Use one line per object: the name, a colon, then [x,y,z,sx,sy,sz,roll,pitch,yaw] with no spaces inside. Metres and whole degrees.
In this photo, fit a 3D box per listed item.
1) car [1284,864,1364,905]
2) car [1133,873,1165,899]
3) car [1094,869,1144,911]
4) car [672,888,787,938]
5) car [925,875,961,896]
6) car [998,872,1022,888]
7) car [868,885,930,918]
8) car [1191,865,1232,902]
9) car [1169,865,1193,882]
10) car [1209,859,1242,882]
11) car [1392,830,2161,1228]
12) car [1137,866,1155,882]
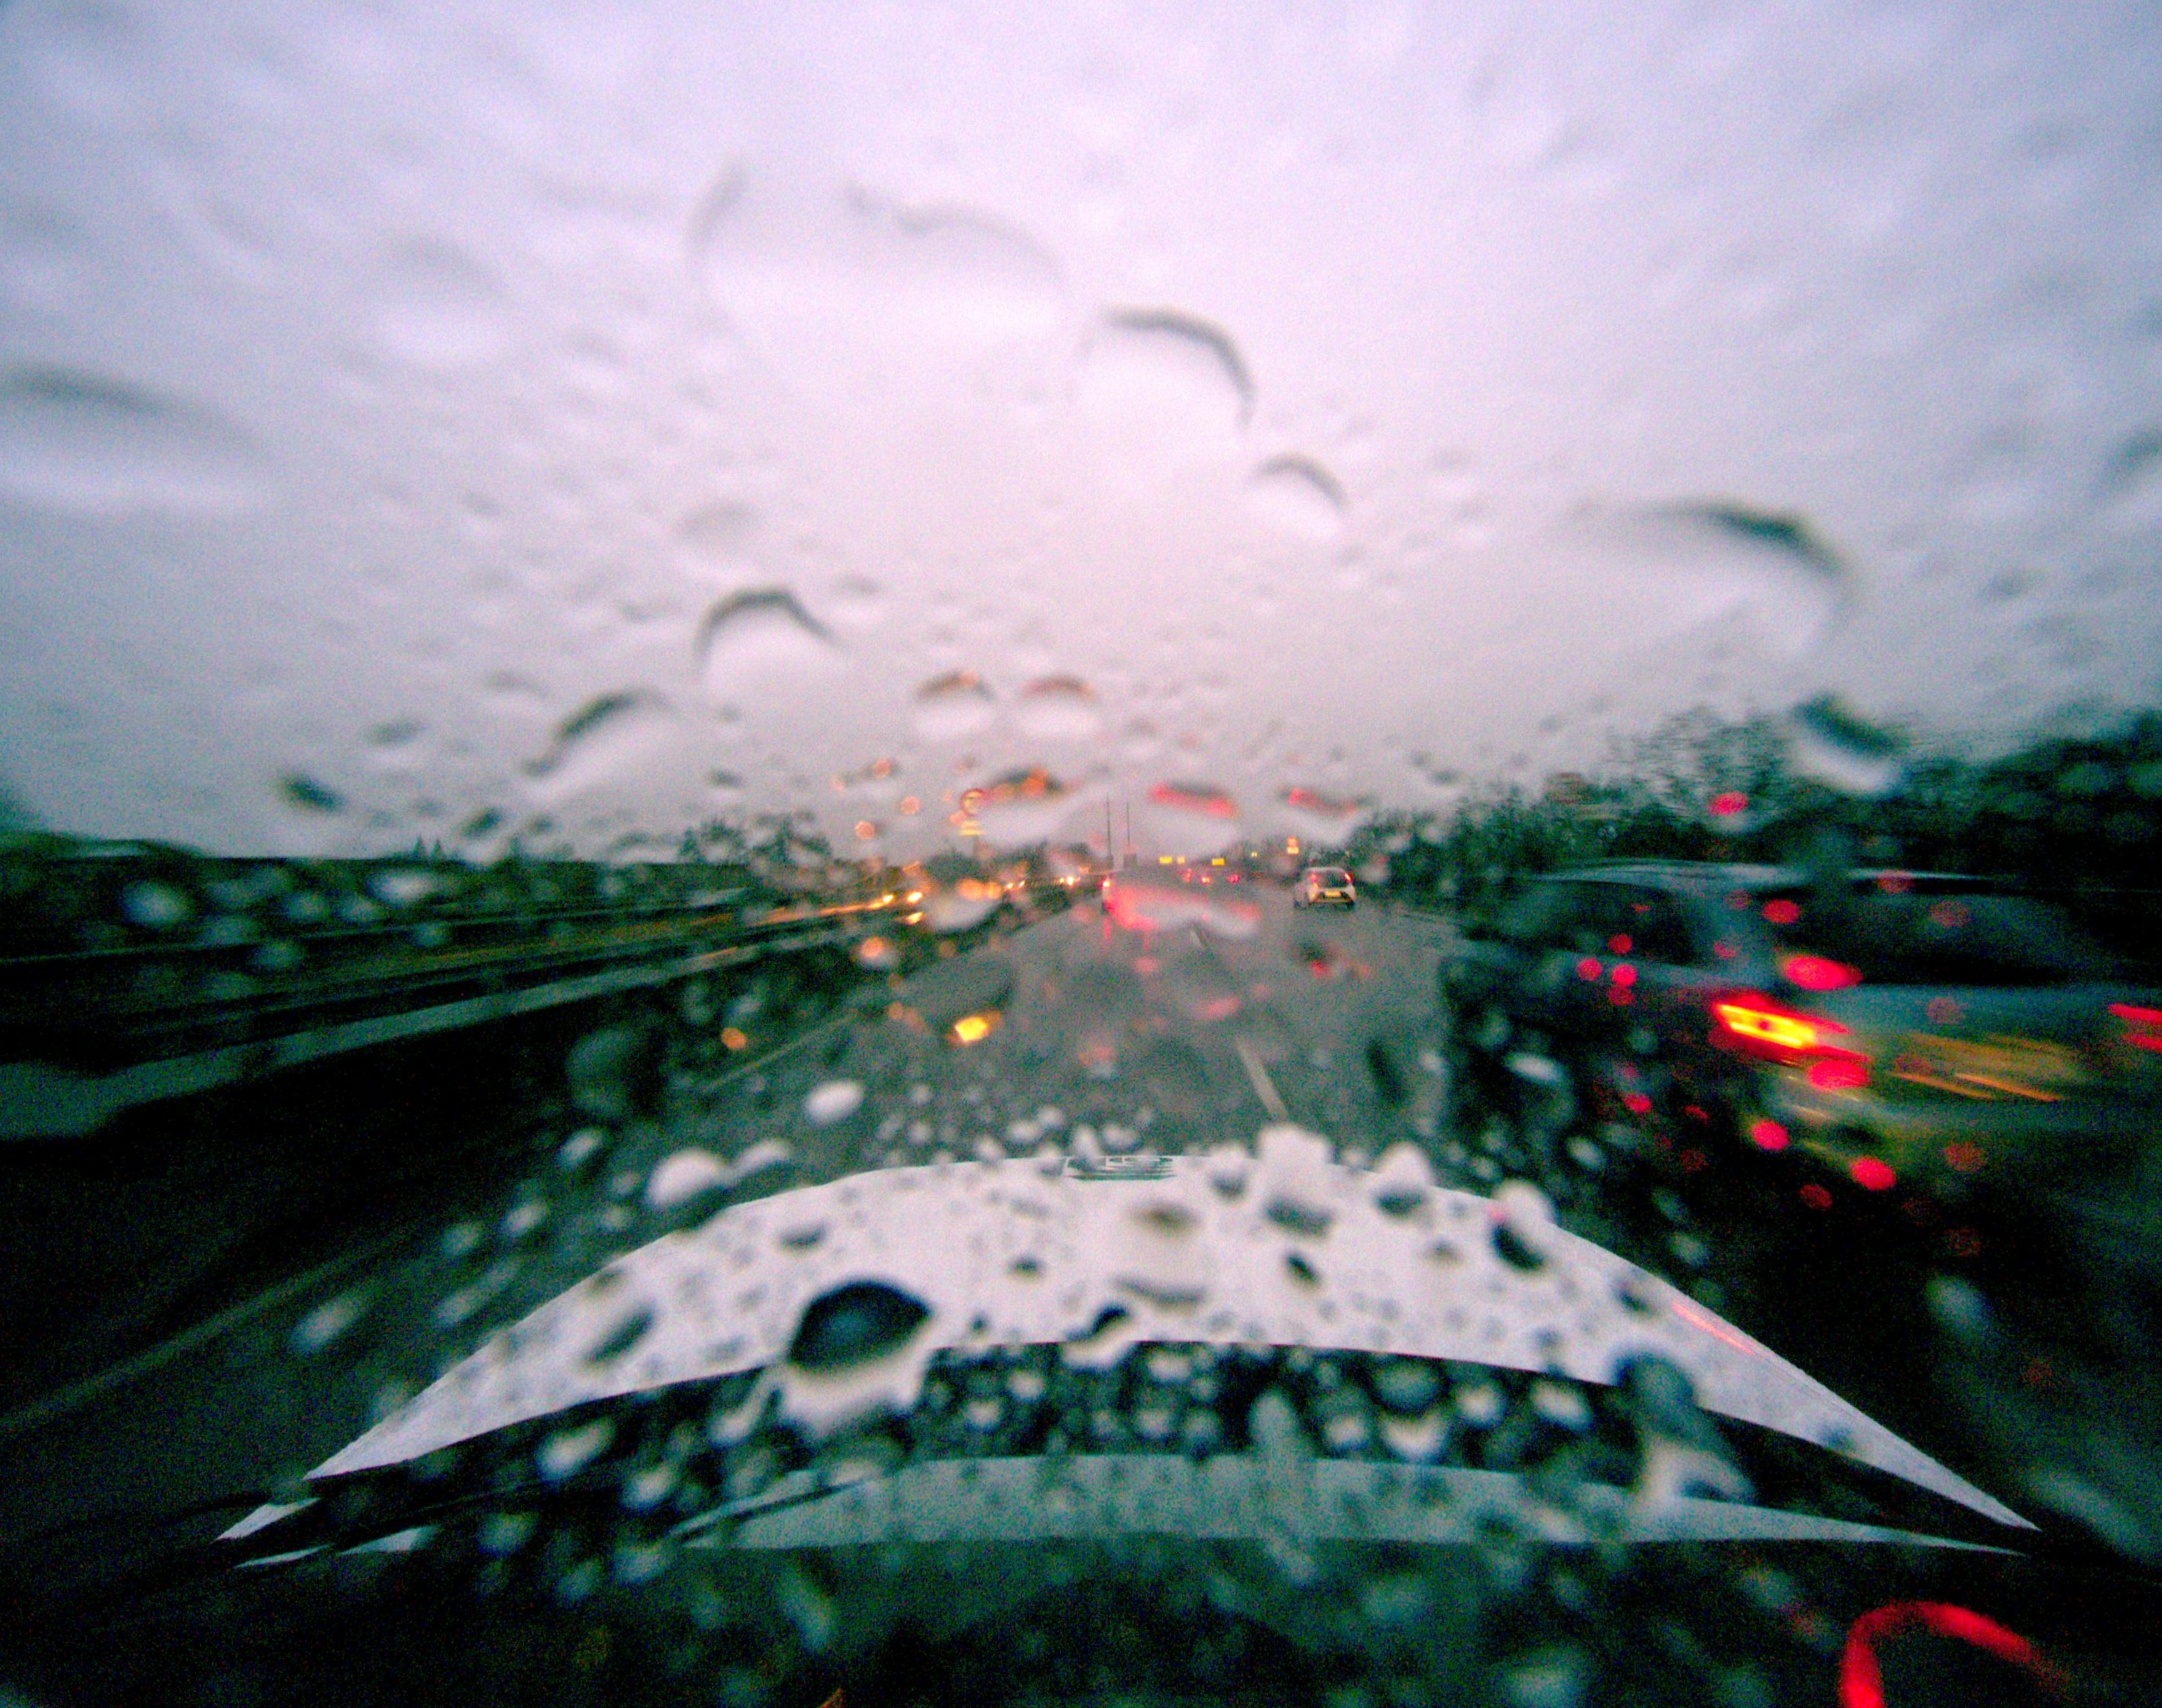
car: [8.747,1.057,29.683,1.984,1.346,4.005,-2,-1,4]
car: [4.452,2.061,53.045,1.984,1.601,4.314,0,-1,5]
car: [1.474,1.312,30.901,1.717,1.440,4.229,-2,-1,3]
car: [-12.525,2.054,29.383,1.886,1.465,4.464,-3,-1,4]
car: [-10.870,2.460,64.341,1.886,1.465,4.003,-3,-1,3]
car: [-7.268,2.652,83.661,1.886,1.465,4.003,-3,-1,3]
car: [-9.666,2.512,43.720,1.886,1.465,4.834,-3,-1,4]
car: [6.815,1.501,42.866,1.888,1.767,4.316,-2,-1,6]
car: [9.273,1.795,75.736,1.783,1.545,4.001,-2,-1,1]
car: [10.433,1.193,59.088,1.782,1.545,4.002,-2,-1,2]
car: [3.628,0.727,5.213,1.984,1.501,4.143,-2,-1,5]
car: [6.919,2.099,86.834,1.781,1.545,4.004,-2,-1,4]
